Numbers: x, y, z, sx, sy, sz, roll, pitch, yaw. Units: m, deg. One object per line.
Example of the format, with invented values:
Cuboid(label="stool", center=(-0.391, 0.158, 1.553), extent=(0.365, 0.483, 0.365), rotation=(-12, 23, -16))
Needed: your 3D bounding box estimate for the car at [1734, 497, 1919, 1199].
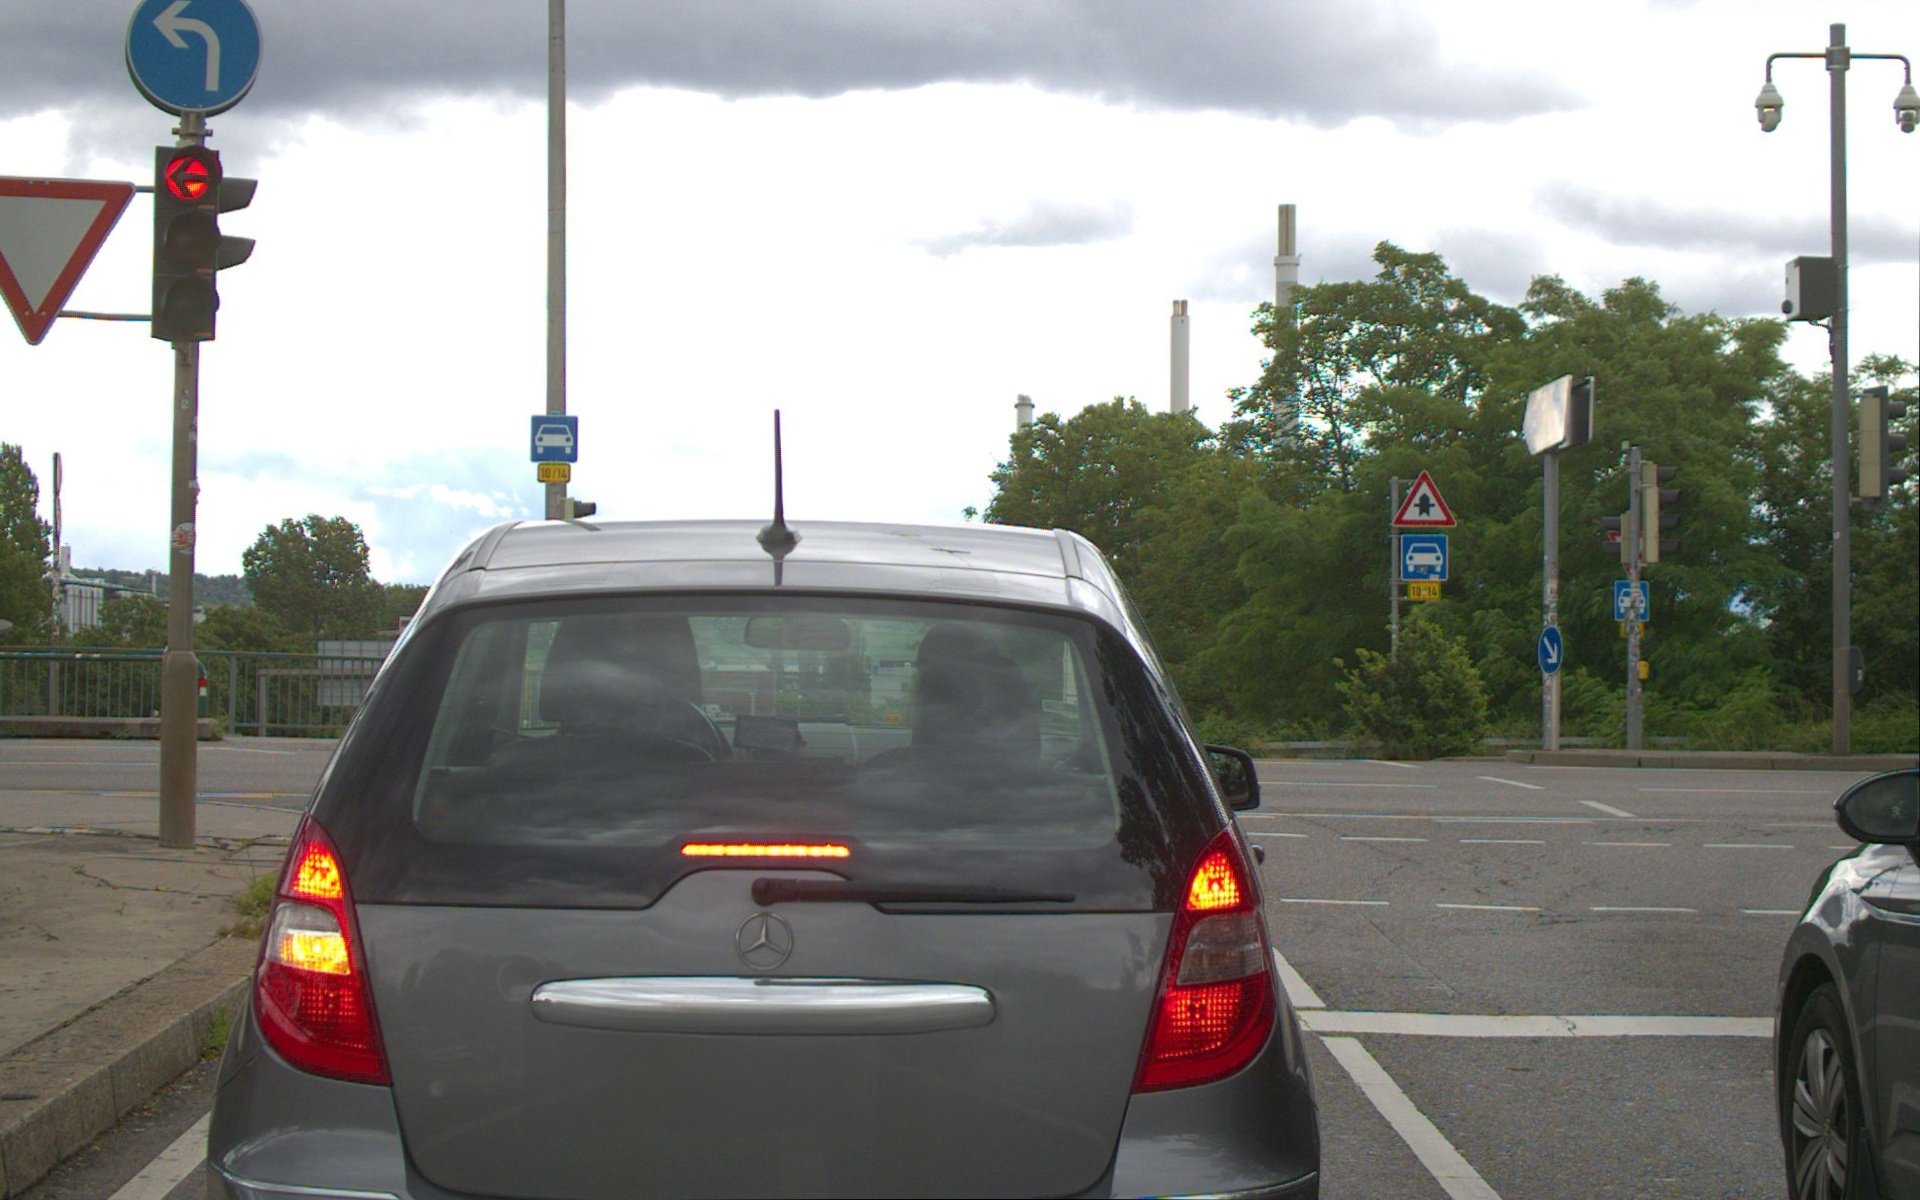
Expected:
Cuboid(label="car", center=(2.692, 0.654, 5.598), extent=(1.796, 1.647, 4.151), rotation=(1, 1, -2))

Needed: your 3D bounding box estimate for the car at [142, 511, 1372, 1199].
Cuboid(label="car", center=(-0.307, 0.636, 6.669), extent=(1.739, 1.538, 3.541), rotation=(1, 1, 0))
